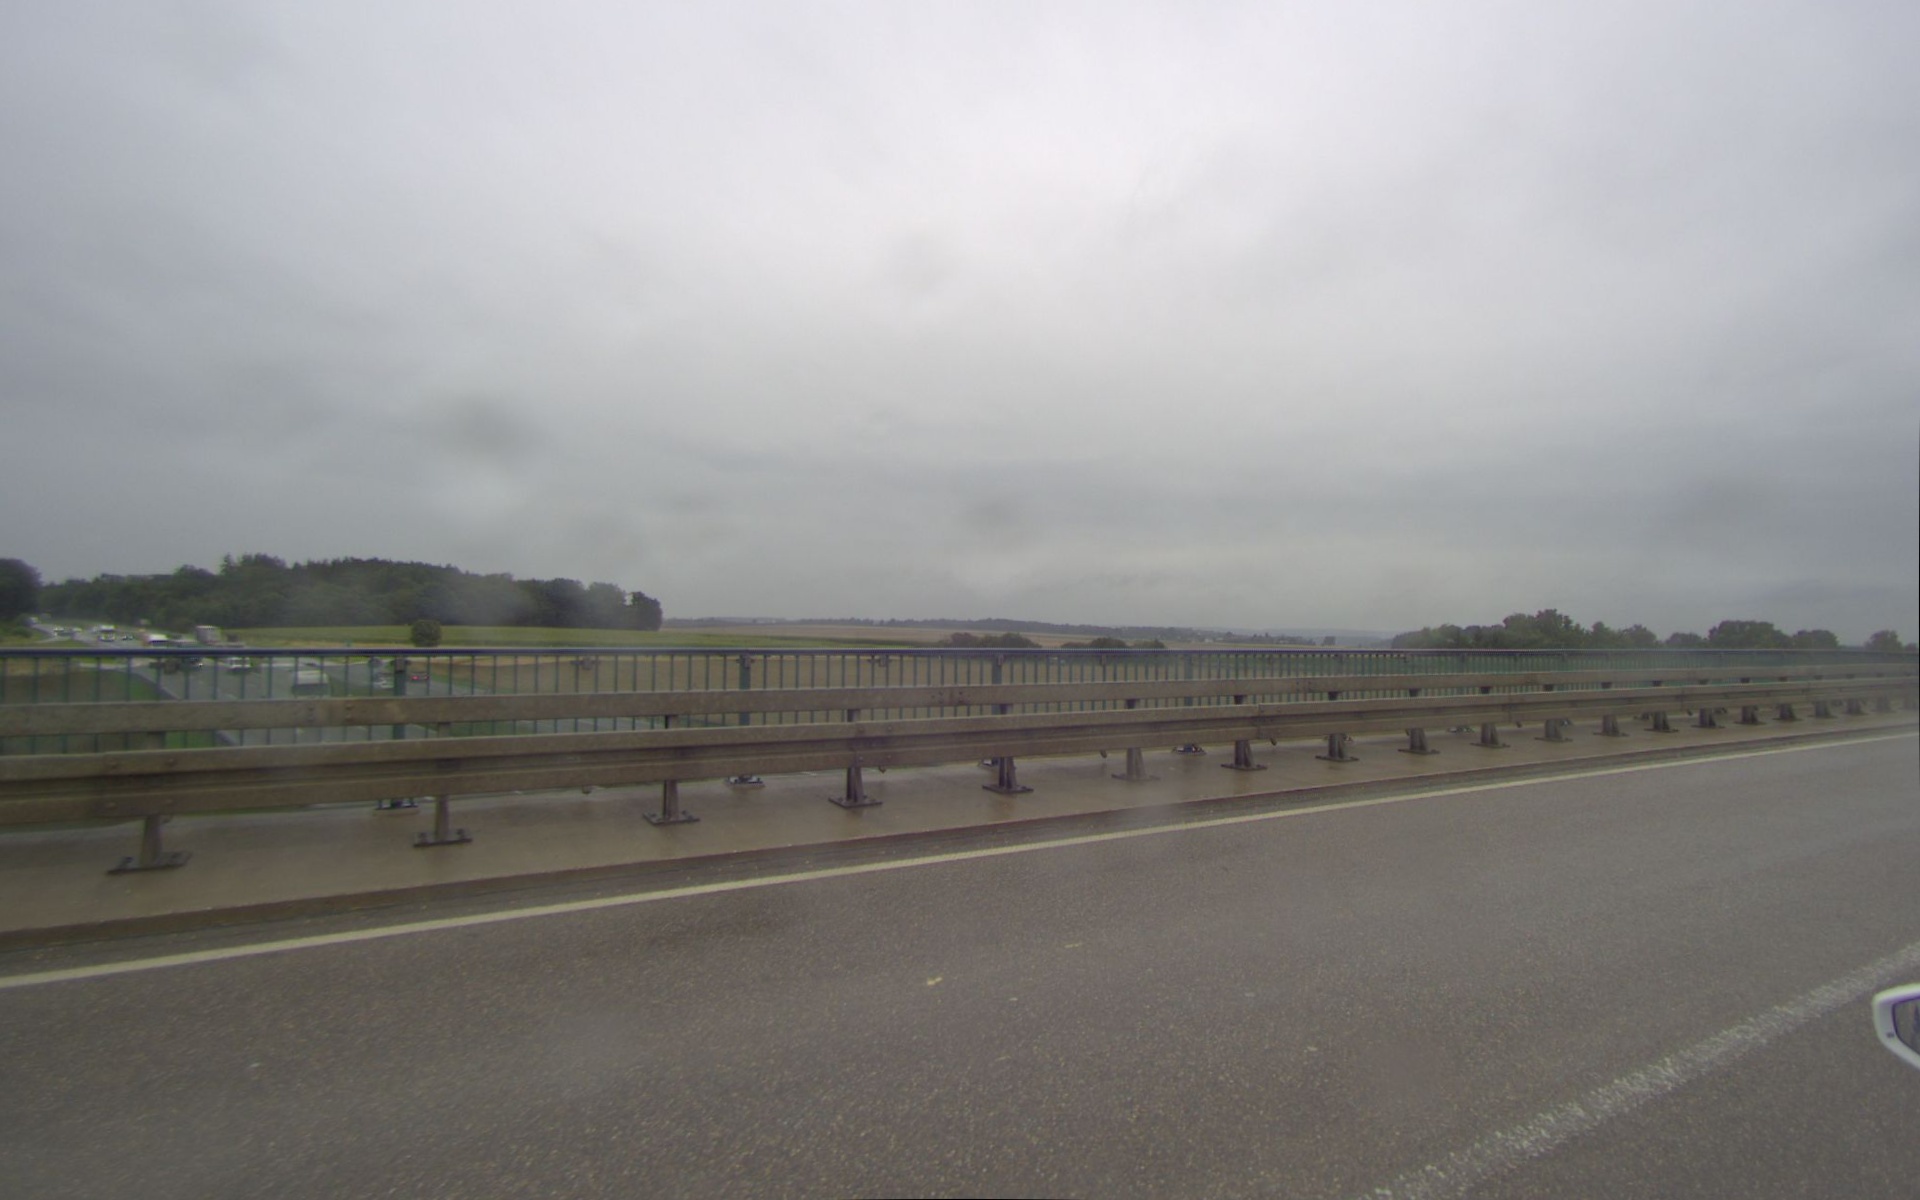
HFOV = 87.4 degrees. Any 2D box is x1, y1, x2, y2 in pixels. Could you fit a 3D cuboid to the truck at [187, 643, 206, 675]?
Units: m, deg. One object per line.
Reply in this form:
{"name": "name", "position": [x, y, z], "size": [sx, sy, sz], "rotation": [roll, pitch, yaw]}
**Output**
{"name": "truck", "position": [-111.636, 8.550, 146.924], "size": [2.219, 3.749, 9.746], "rotation": [0, 2, -37]}

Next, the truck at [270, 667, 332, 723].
{"name": "truck", "position": [-56.046, 7.942, 85.307], "size": [2.765, 3.920, 10.513], "rotation": [3, -2, -41]}
